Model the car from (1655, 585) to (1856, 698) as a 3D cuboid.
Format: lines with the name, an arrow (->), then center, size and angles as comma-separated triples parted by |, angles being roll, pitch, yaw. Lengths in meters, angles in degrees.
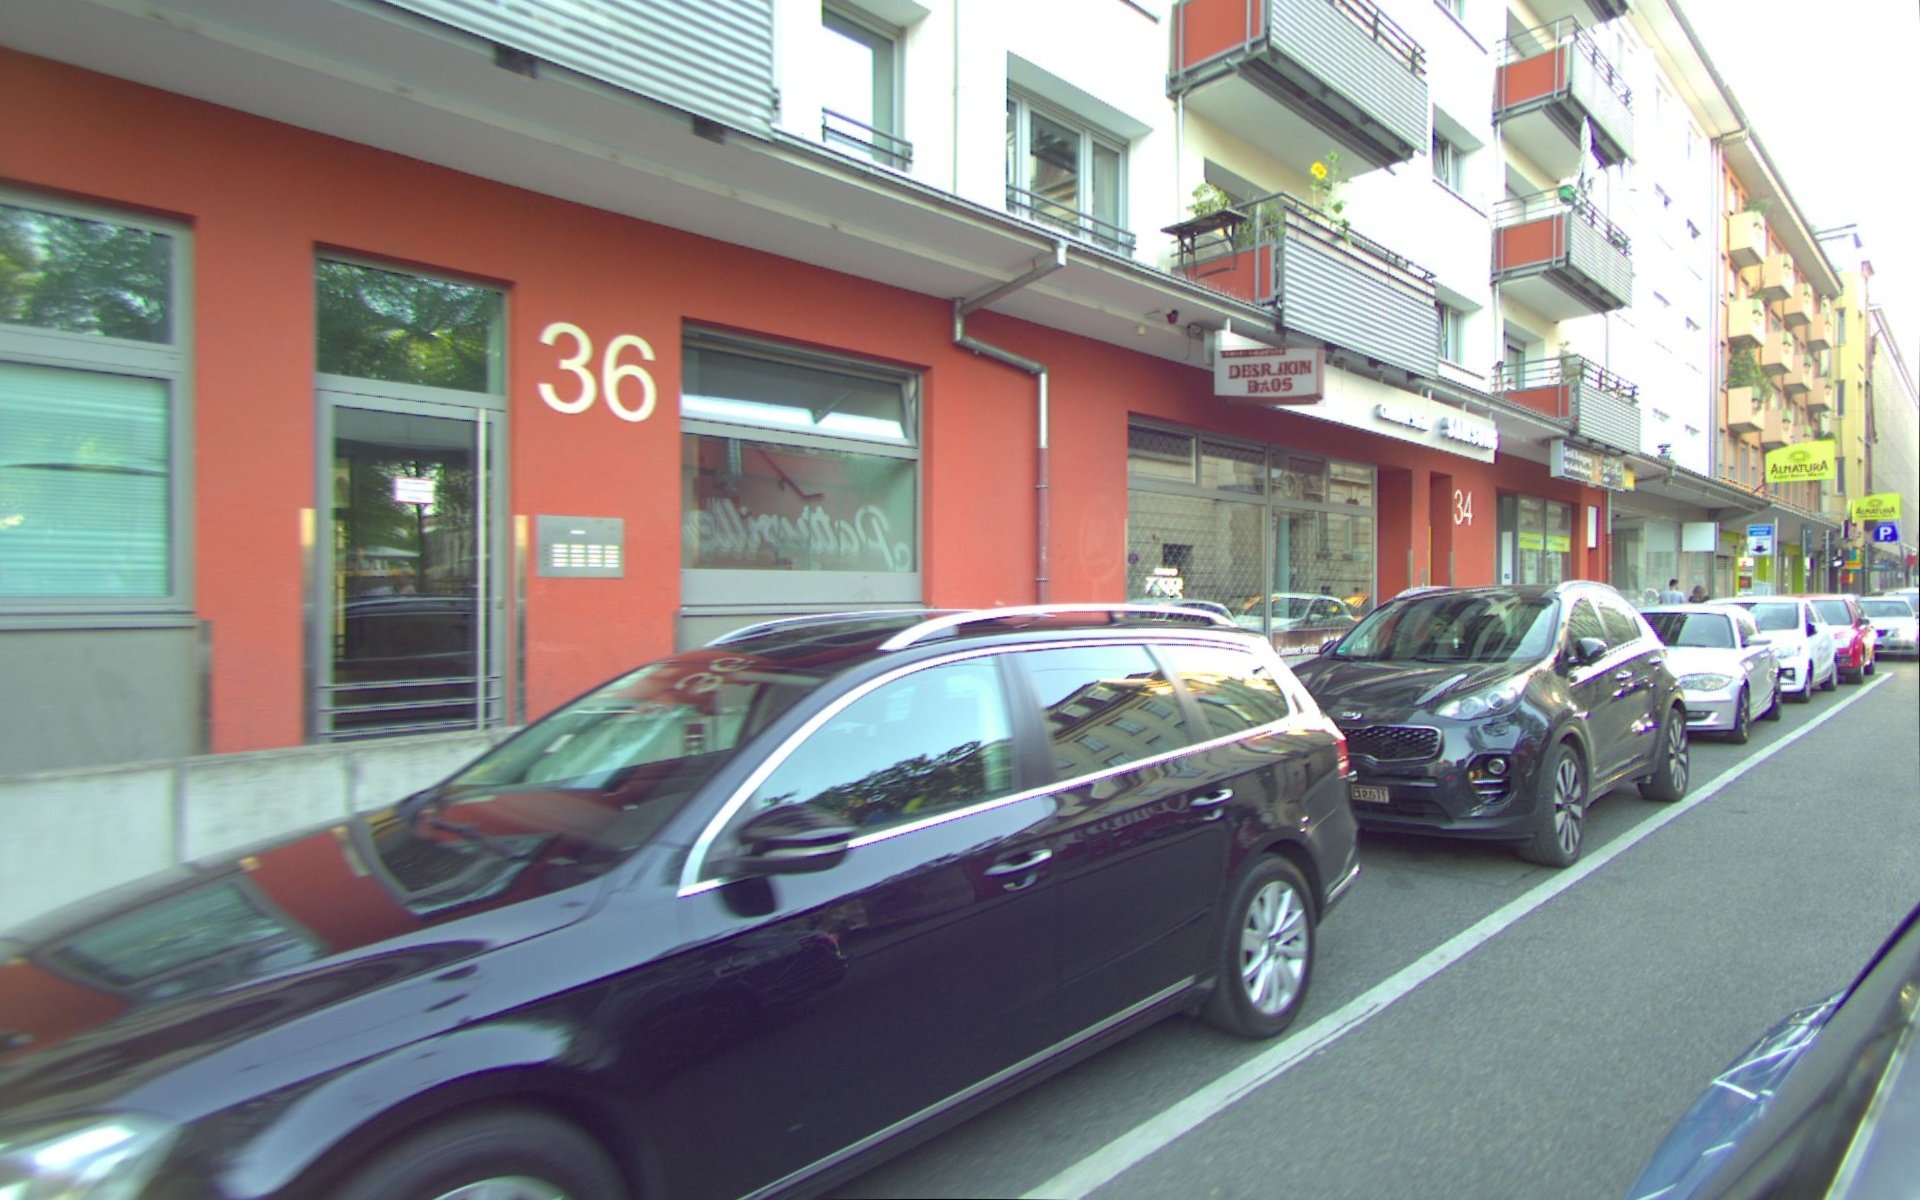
car -> 12.125, 0.545, 15.350 | 3.880, 1.496, 1.765 | 0, -1, -42

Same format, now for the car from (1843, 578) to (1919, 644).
car -> 25.308, 0.258, 26.901 | 4.288, 1.637, 1.998 | 0, -1, -39

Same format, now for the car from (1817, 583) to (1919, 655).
car -> 21.191, 0.399, 23.061 | 4.225, 1.496, 1.895 | 0, -1, -41

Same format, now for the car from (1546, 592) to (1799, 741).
car -> 8.312, 0.632, 11.672 | 1.748, 1.421, 3.903 | -1, -1, 45

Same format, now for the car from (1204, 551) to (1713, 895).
car -> 3.698, 0.616, 7.161 | 4.067, 1.721, 1.881 | 0, -1, -43

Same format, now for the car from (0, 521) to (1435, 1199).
car -> -0.440, 0.683, 3.265 | 4.550, 1.572, 1.877 | 0, -1, -41

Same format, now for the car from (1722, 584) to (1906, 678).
car -> 15.423, 0.492, 18.194 | 4.317, 1.496, 1.865 | 0, -1, -41
